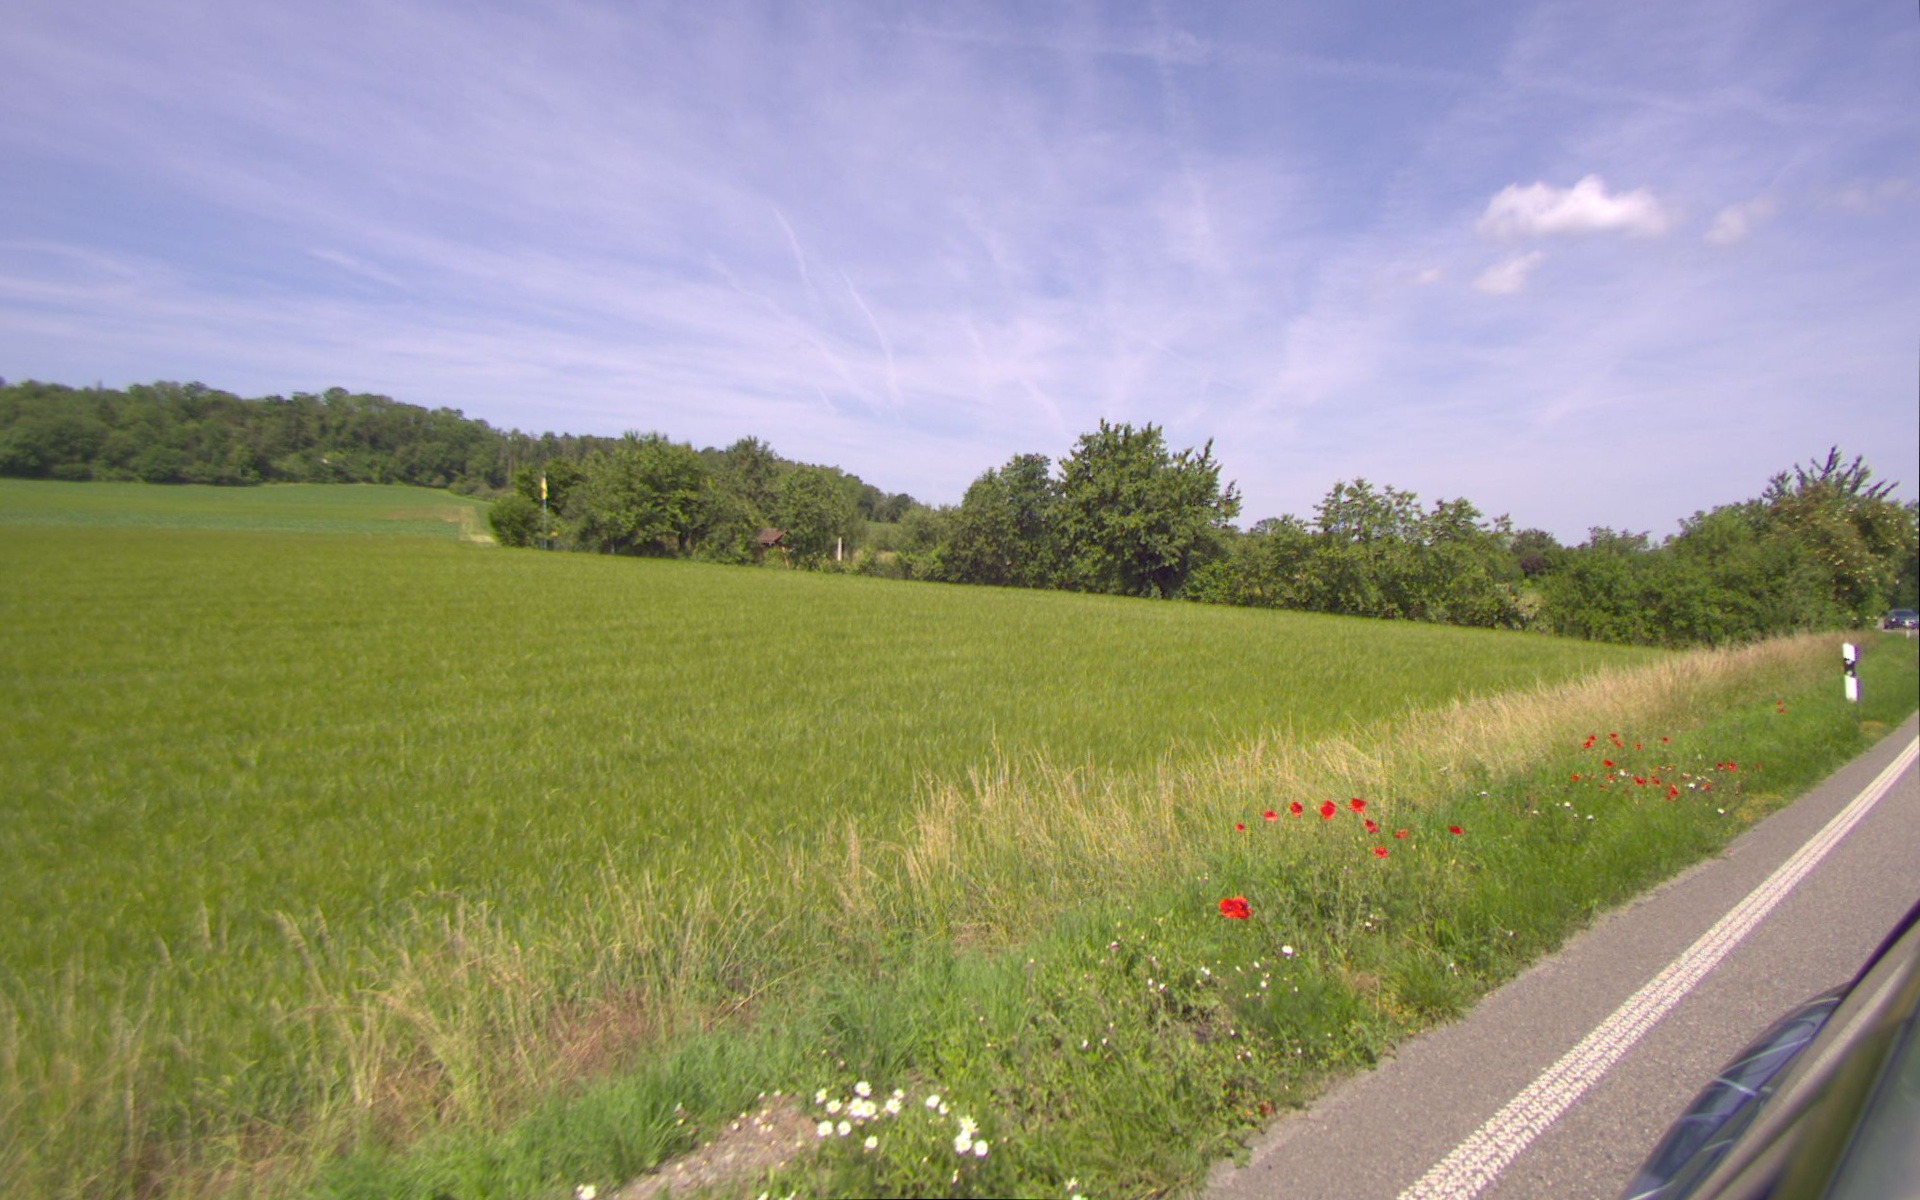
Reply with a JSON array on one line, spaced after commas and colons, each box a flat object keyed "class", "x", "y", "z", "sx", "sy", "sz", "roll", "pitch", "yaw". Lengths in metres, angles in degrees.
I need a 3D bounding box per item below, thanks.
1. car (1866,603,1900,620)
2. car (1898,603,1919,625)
[{"class": "car", "x": 84.722, "y": 1.047, "z": 92.902, "sx": 1.920, "sy": 1.468, "sz": 3.946, "roll": 3, "pitch": 2, "yaw": 37}, {"class": "car", "x": 71.664, "y": 1.072, "z": 75.682, "sx": 1.922, "sy": 1.467, "sz": 4.020, "roll": 3, "pitch": 3, "yaw": 39}]
